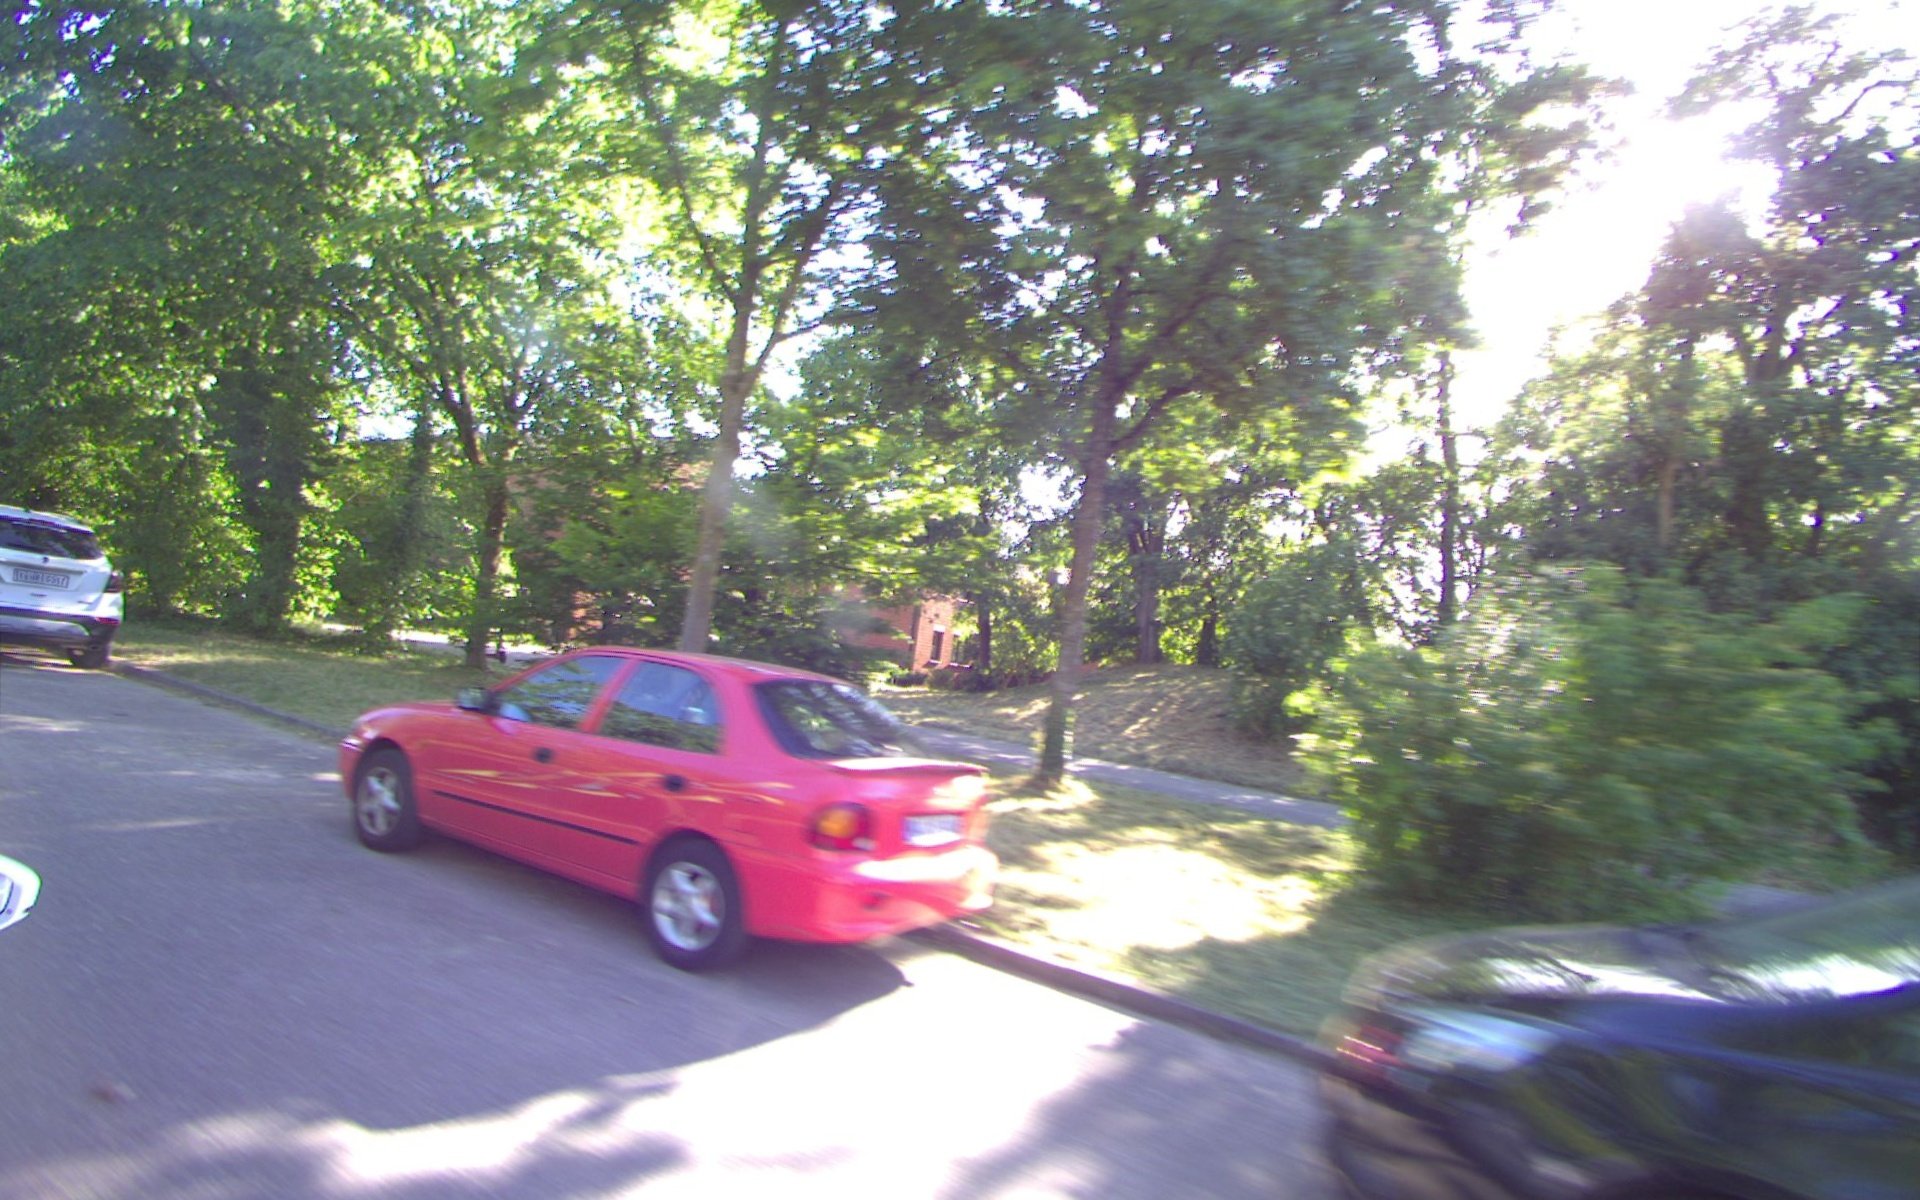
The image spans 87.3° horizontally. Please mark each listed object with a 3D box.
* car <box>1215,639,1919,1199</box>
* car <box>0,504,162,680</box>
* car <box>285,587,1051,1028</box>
[{"bbox_3d":[2.983,1.258,2.039,4.350,1.667,1.816,6,-6,34],"label":"car"},{"bbox_3d":[-11.178,-0.267,11.353,3.994,1.637,1.783,7,-5,28],"label":"car"},{"bbox_3d":[-1.758,0.938,5.754,4.084,1.389,1.668,7,-5,29],"label":"car"}]
